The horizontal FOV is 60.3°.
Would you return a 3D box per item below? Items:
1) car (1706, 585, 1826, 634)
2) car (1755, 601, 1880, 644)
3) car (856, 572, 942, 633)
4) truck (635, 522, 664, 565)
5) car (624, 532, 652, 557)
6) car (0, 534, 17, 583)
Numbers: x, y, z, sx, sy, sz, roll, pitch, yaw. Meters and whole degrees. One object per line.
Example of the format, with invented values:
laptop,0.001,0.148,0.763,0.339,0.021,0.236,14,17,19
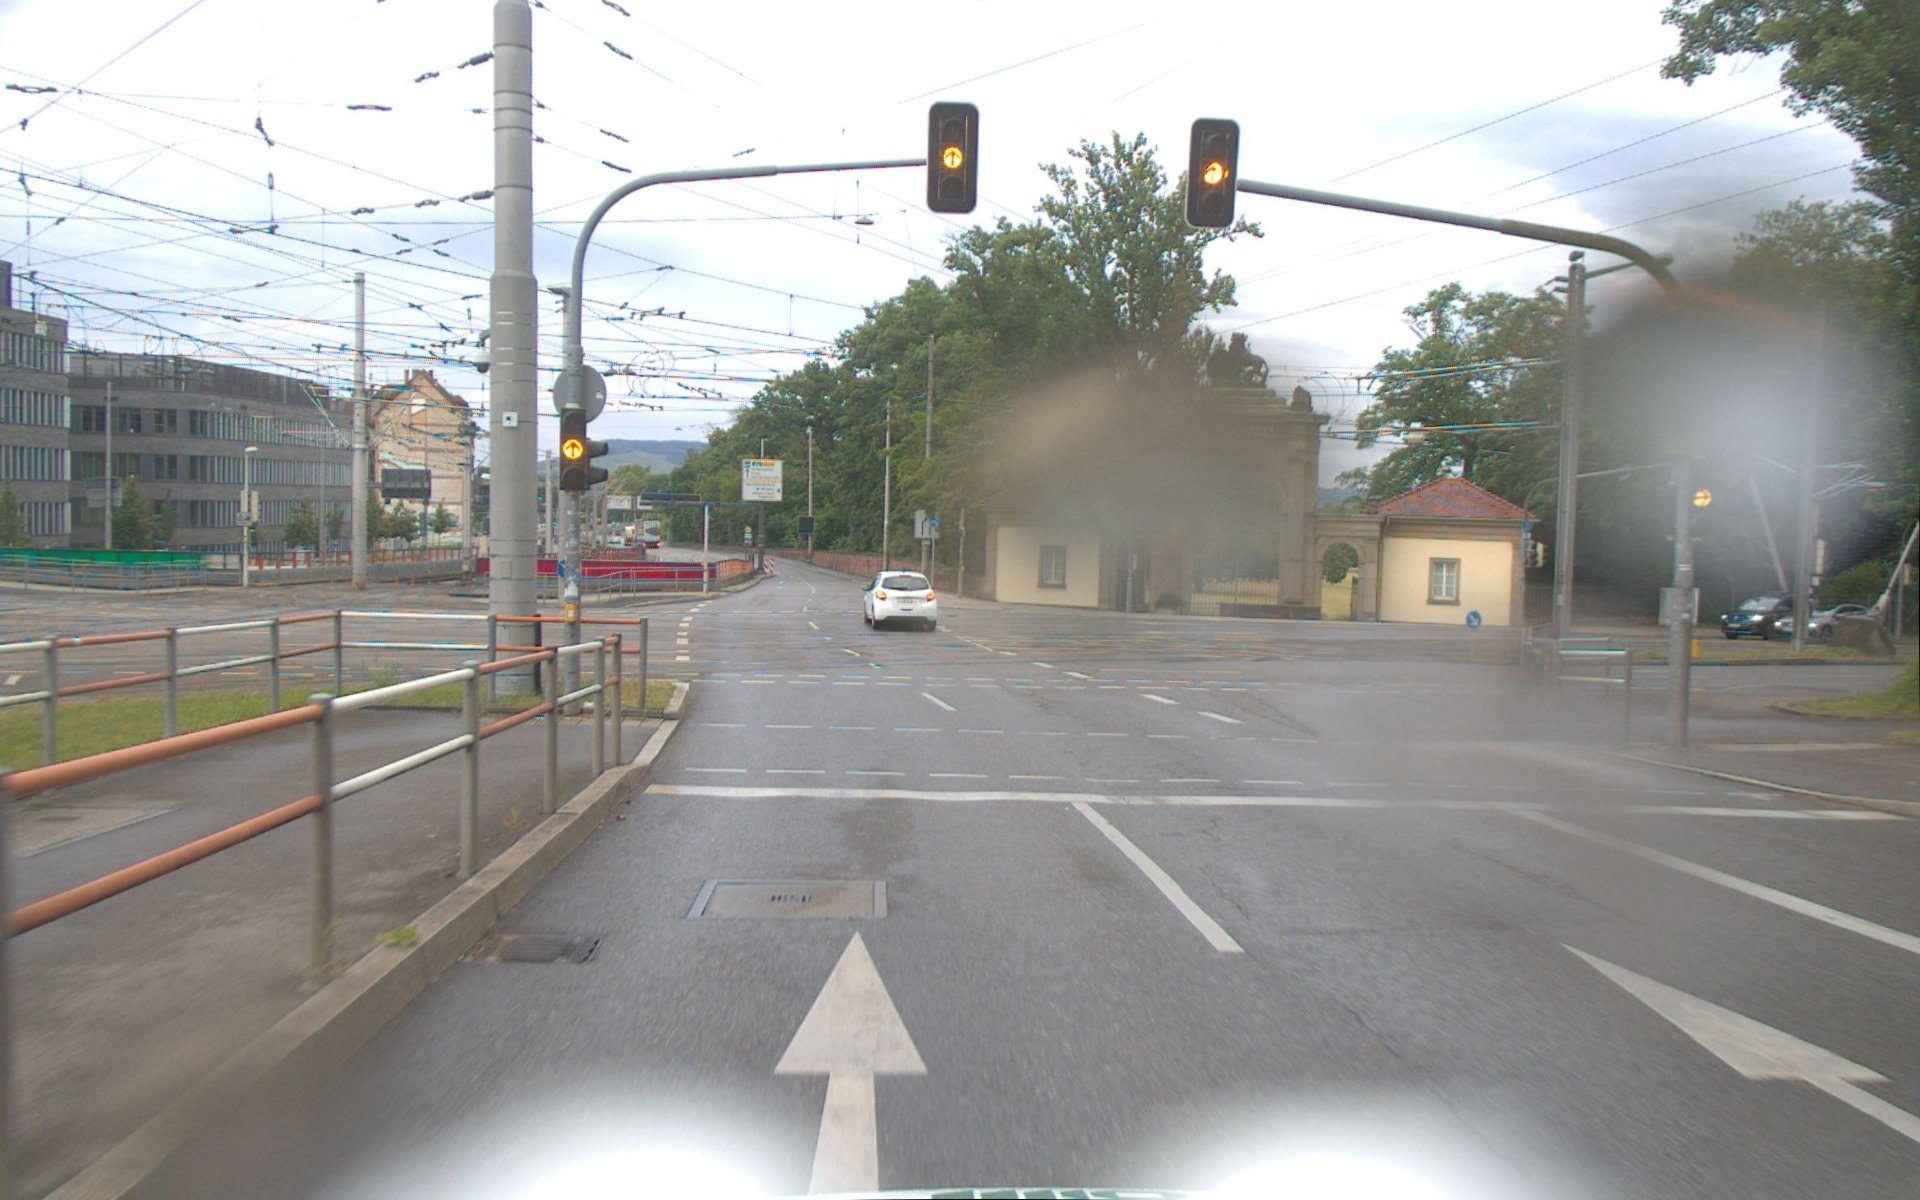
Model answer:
car,30.488,0.389,62.541,4.197,1.765,1.983,1,-1,-27
car,31.060,0.836,59.930,4.197,1.481,1.983,1,-1,-27
car,-1.673,0.101,44.070,1.918,1.514,3.993,1,-1,-7
truck,-44.931,-8.066,239.119,3.405,5.495,12.009,1,-1,-13
car,-25.461,-4.402,130.706,1.960,1.905,3.985,-1,1,-15
car,-44.803,-1.932,74.974,1.955,2.191,4.241,0,-2,-6
